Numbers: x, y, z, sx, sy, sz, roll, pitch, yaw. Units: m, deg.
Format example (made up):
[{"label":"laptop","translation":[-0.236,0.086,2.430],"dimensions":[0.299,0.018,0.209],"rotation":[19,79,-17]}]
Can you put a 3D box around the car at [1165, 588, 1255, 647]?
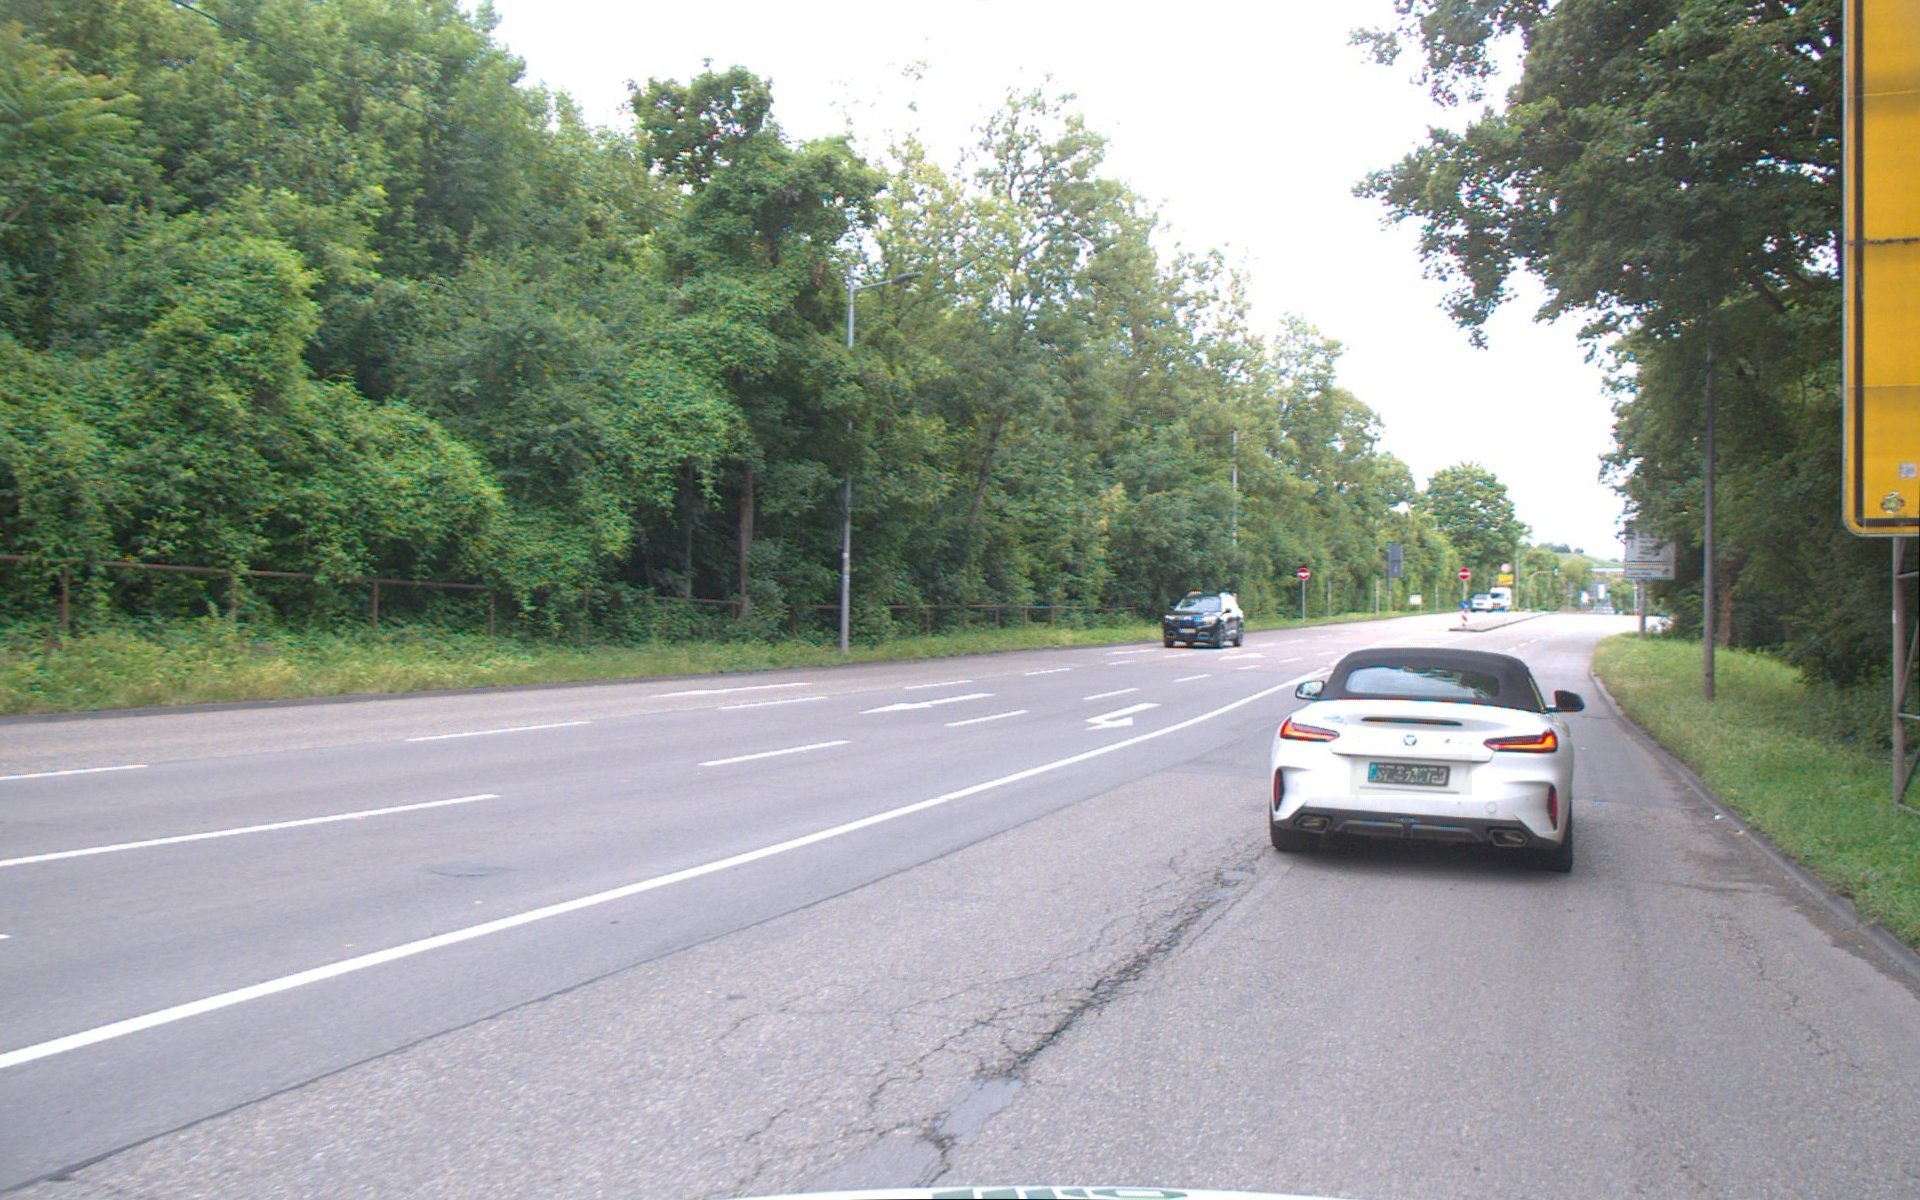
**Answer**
[{"label":"car","translation":[7.887,0.568,51.874],"dimensions":[1.785,1.682,4.220],"rotation":[3,0,22]}]

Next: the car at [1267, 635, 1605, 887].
[{"label":"car","translation":[3.321,0.933,11.283],"dimensions":[1.836,1.332,3.874],"rotation":[1,-1,19]}]
